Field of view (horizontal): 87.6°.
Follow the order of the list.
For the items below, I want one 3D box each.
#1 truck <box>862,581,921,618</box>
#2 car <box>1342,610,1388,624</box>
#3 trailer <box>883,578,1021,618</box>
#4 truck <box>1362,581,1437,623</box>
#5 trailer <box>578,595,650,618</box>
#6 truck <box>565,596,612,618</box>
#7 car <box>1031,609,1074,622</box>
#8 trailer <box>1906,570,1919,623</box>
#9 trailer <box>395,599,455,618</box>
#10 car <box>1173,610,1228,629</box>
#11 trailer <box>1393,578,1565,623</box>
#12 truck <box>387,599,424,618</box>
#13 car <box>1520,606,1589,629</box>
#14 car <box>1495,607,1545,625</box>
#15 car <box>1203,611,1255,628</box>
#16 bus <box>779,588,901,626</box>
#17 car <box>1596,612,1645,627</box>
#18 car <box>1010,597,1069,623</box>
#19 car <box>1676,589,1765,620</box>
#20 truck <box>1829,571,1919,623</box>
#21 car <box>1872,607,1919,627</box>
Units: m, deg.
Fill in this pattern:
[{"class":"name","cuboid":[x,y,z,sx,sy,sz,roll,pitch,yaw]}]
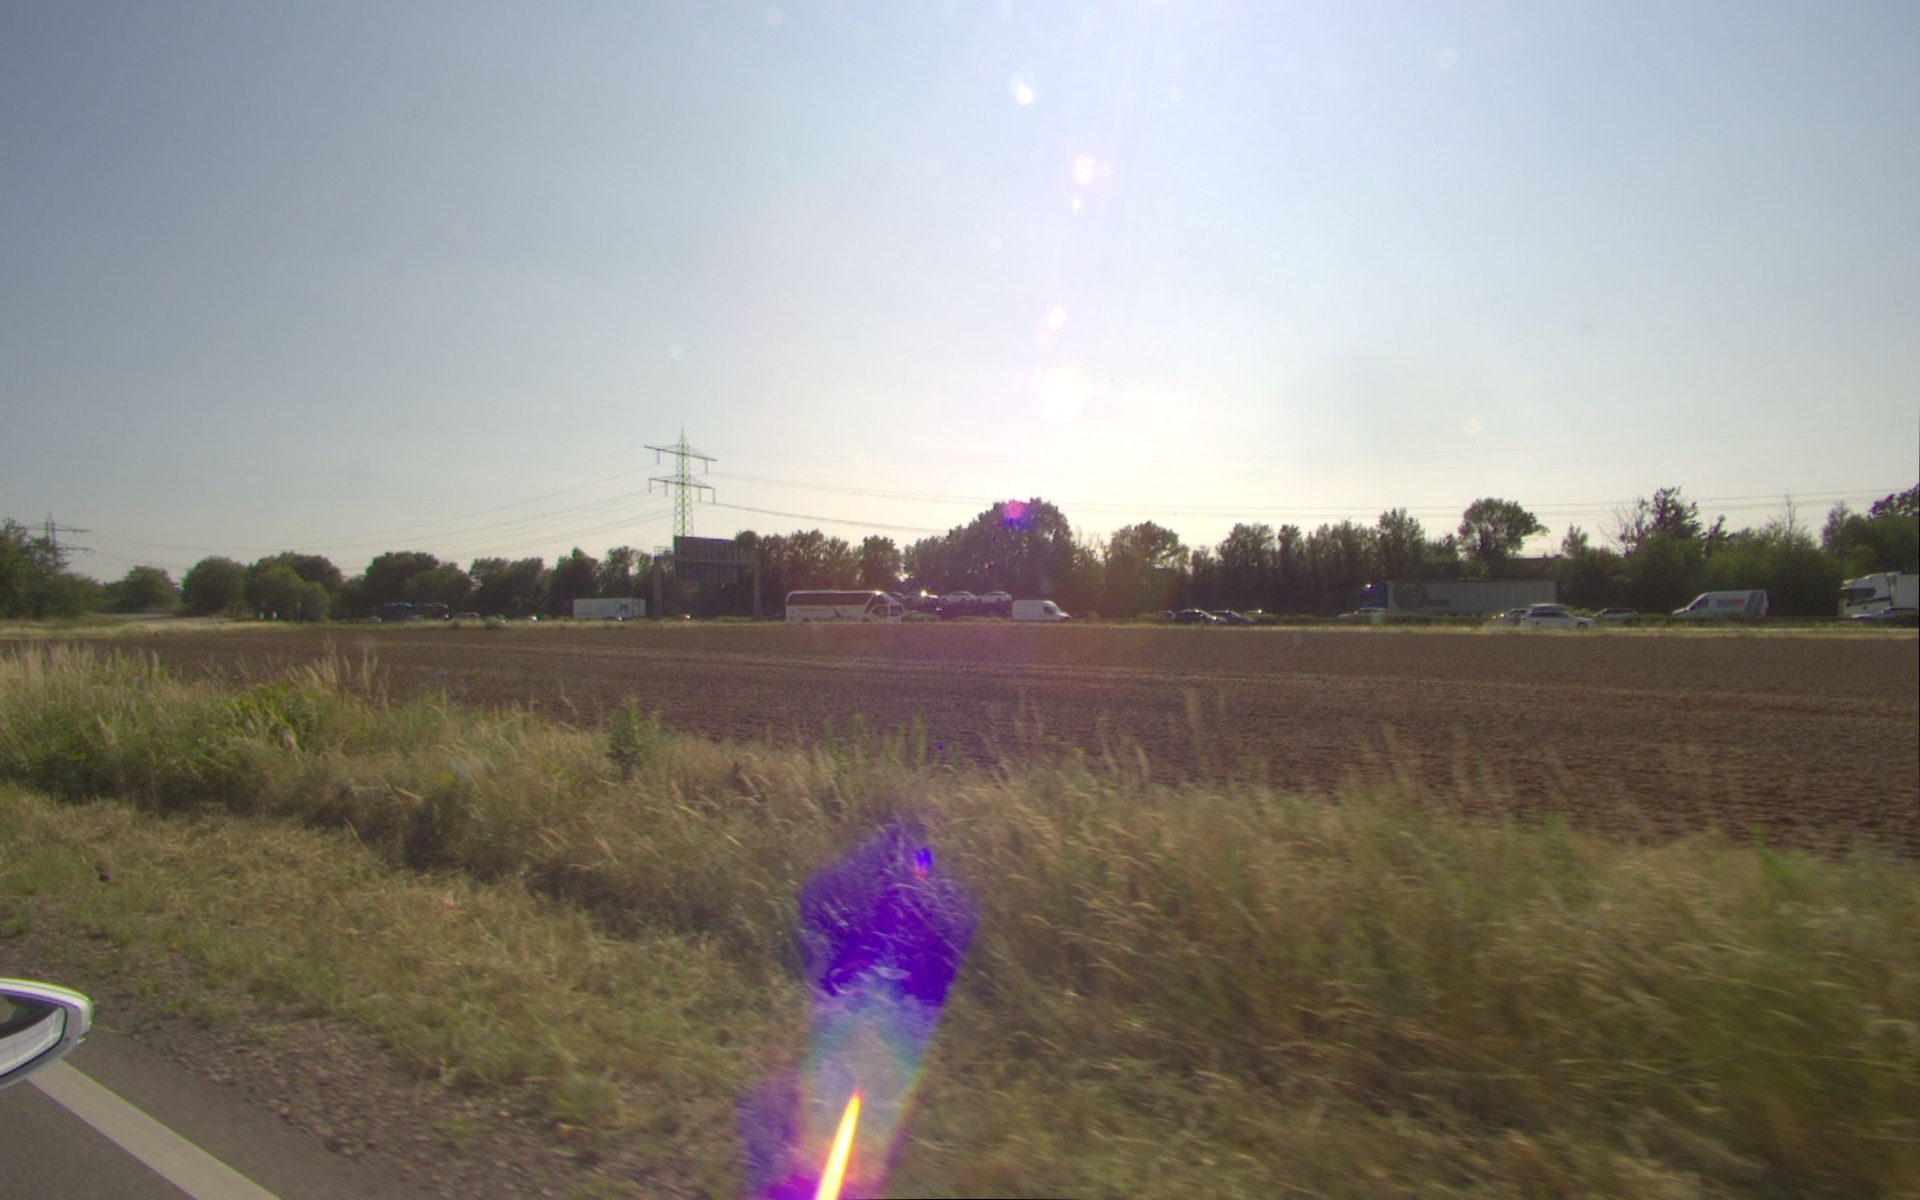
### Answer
[{"class":"truck","cuboid":[-8.527,-0.051,124.717,6.607,4.512,3.415,-1,0,31]},{"class":"car","cuboid":[35.732,1.522,88.335,3.531,1.166,1.392,0,-1,33]},{"class":"trailer","cuboid":[-1.151,-0.158,120.319,17.305,4.512,3.415,-1,0,31]},{"class":"truck","cuboid":[40.944,0.236,93.253,6.003,3.782,3.064,0,0,34]},{"class":"trailer","cuboid":[-52.981,1.025,153.167,12.275,3.310,3.278,-1,0,32]},{"class":"truck","cuboid":[-58.000,1.096,156.261,6.877,3.310,3.278,-1,0,31]},{"class":"car","cuboid":[9.749,1.630,105.398,4.187,1.403,1.847,0,-1,32]},{"class":"trailer","cuboid":[75.925,-0.285,70.506,13.180,3.782,3.065,-1,-1,34]},{"class":"trailer","cuboid":[-95.096,1.529,177.896,13.256,3.310,3.278,0,0,32]},{"class":"car","cuboid":[20.229,1.643,84.337,4.151,1.492,1.700,-1,-2,33]},{"class":"trailer","cuboid":[46.266,0.148,89.651,13.442,3.782,3.064,-1,-1,34]},{"class":"truck","cuboid":[-100.202,1.532,181.003,6.334,3.310,3.279,0,0,31]},{"class":"car","cuboid":[42.068,1.247,70.920,4.136,1.563,1.700,1,-1,33]},{"class":"car","cuboid":[46.100,1.333,82.445,3.551,1.403,1.489,0,-1,32]},{"class":"car","cuboid":[23.511,1.712,87.537,4.037,1.391,1.700,-1,-2,33]},{"class":"bus","cuboid":[-12.966,0.715,106.800,14.330,3.854,2.459,0,0,31]},{"class":"car","cuboid":[51.780,1.542,78.540,3.136,1.166,1.392,0,-1,32]},{"class":"car","cuboid":[7.678,0.995,97.280,5.443,2.402,1.990,-1,-2,33]},{"class":"car","cuboid":[57.232,0.371,75.457,5.162,2.228,1.902,0,-1,32]},{"class":"truck","cuboid":[69.255,-0.208,74.940,6.032,3.782,3.065,0,0,34]},{"class":"car","cuboid":[66.936,1.206,70.158,4.187,1.403,1.847,0,-1,32]}]
